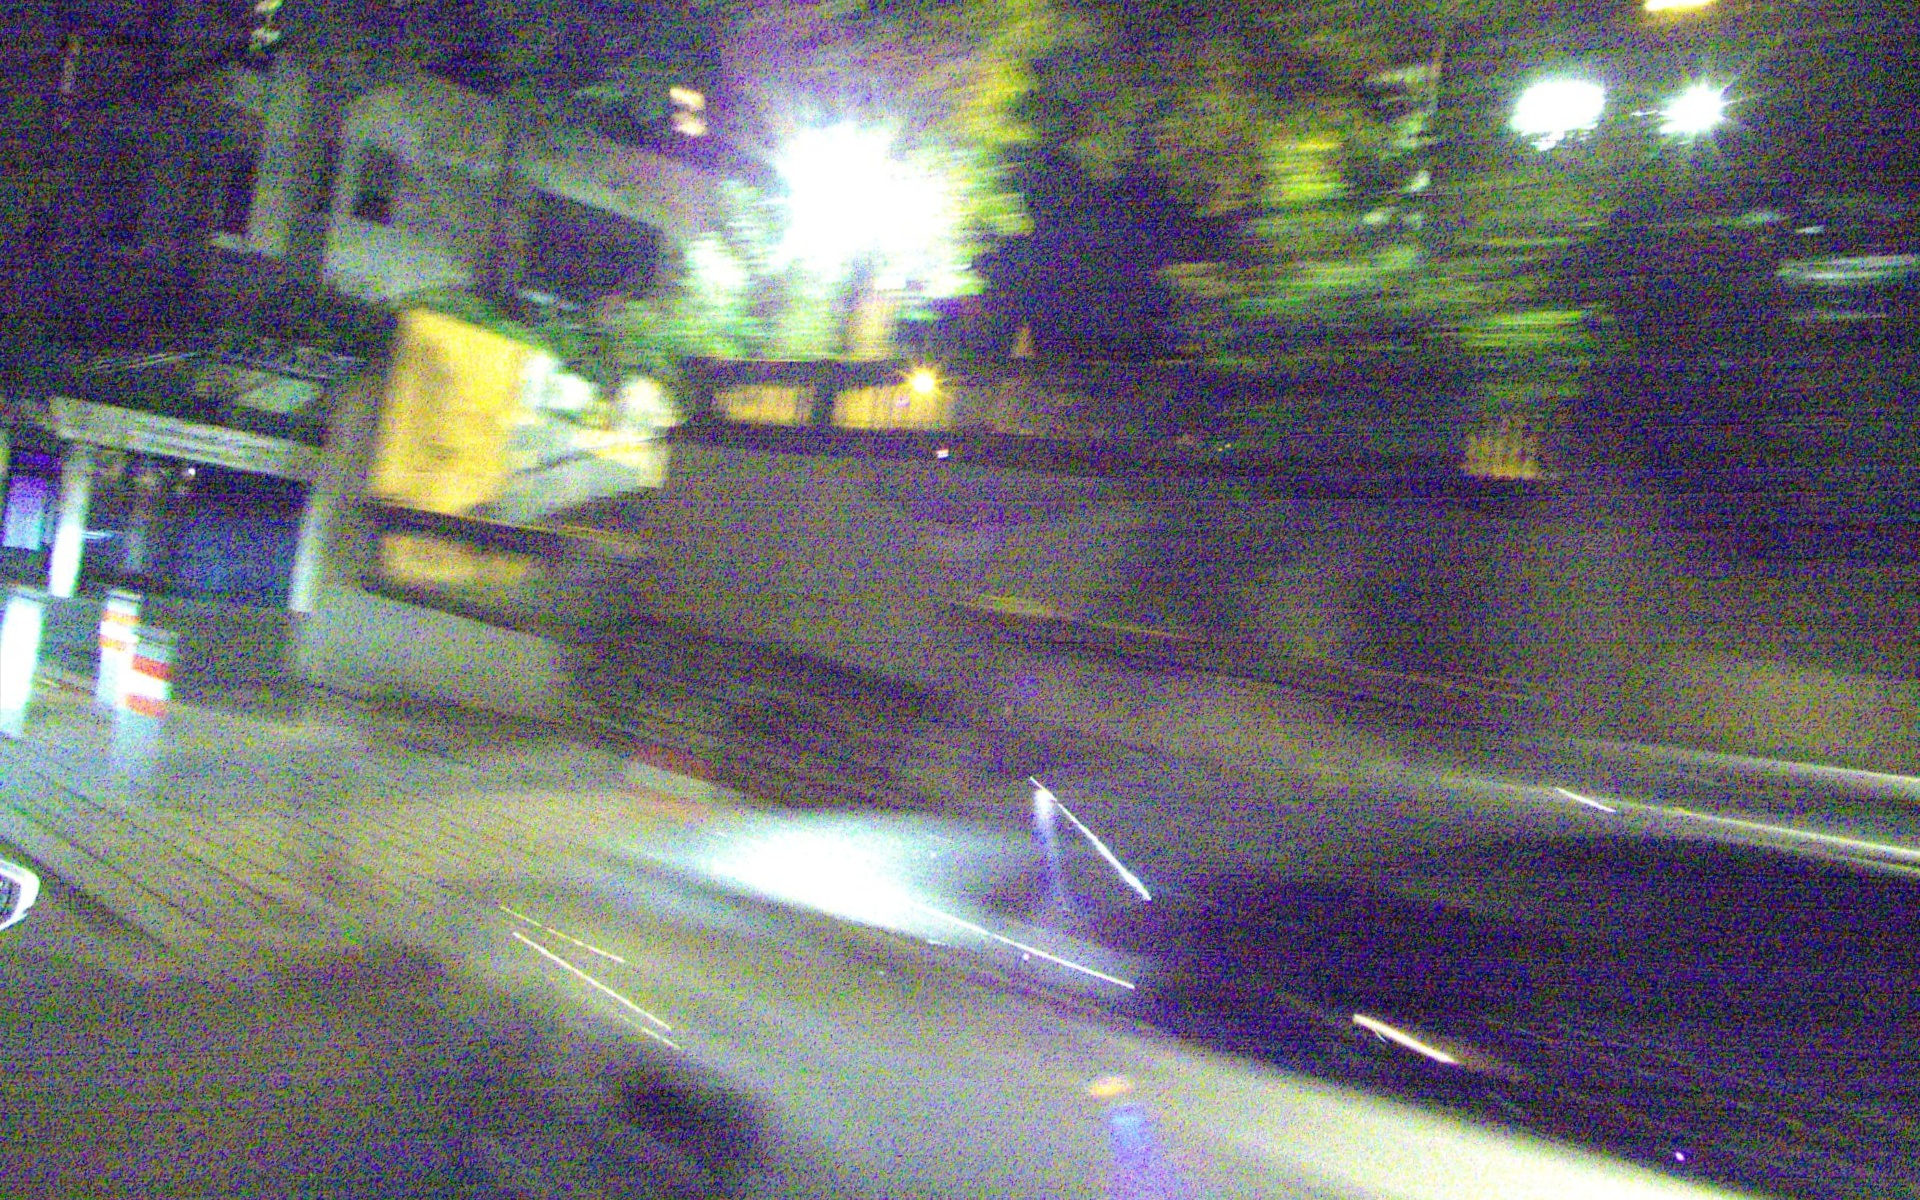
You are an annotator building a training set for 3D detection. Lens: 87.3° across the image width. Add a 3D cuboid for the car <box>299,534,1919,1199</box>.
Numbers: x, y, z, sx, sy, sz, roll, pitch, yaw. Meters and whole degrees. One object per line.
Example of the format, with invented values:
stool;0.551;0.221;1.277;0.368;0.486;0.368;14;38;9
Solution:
car;0.915;0.928;1.973;4.202;1.491;1.769;7;-3;28
